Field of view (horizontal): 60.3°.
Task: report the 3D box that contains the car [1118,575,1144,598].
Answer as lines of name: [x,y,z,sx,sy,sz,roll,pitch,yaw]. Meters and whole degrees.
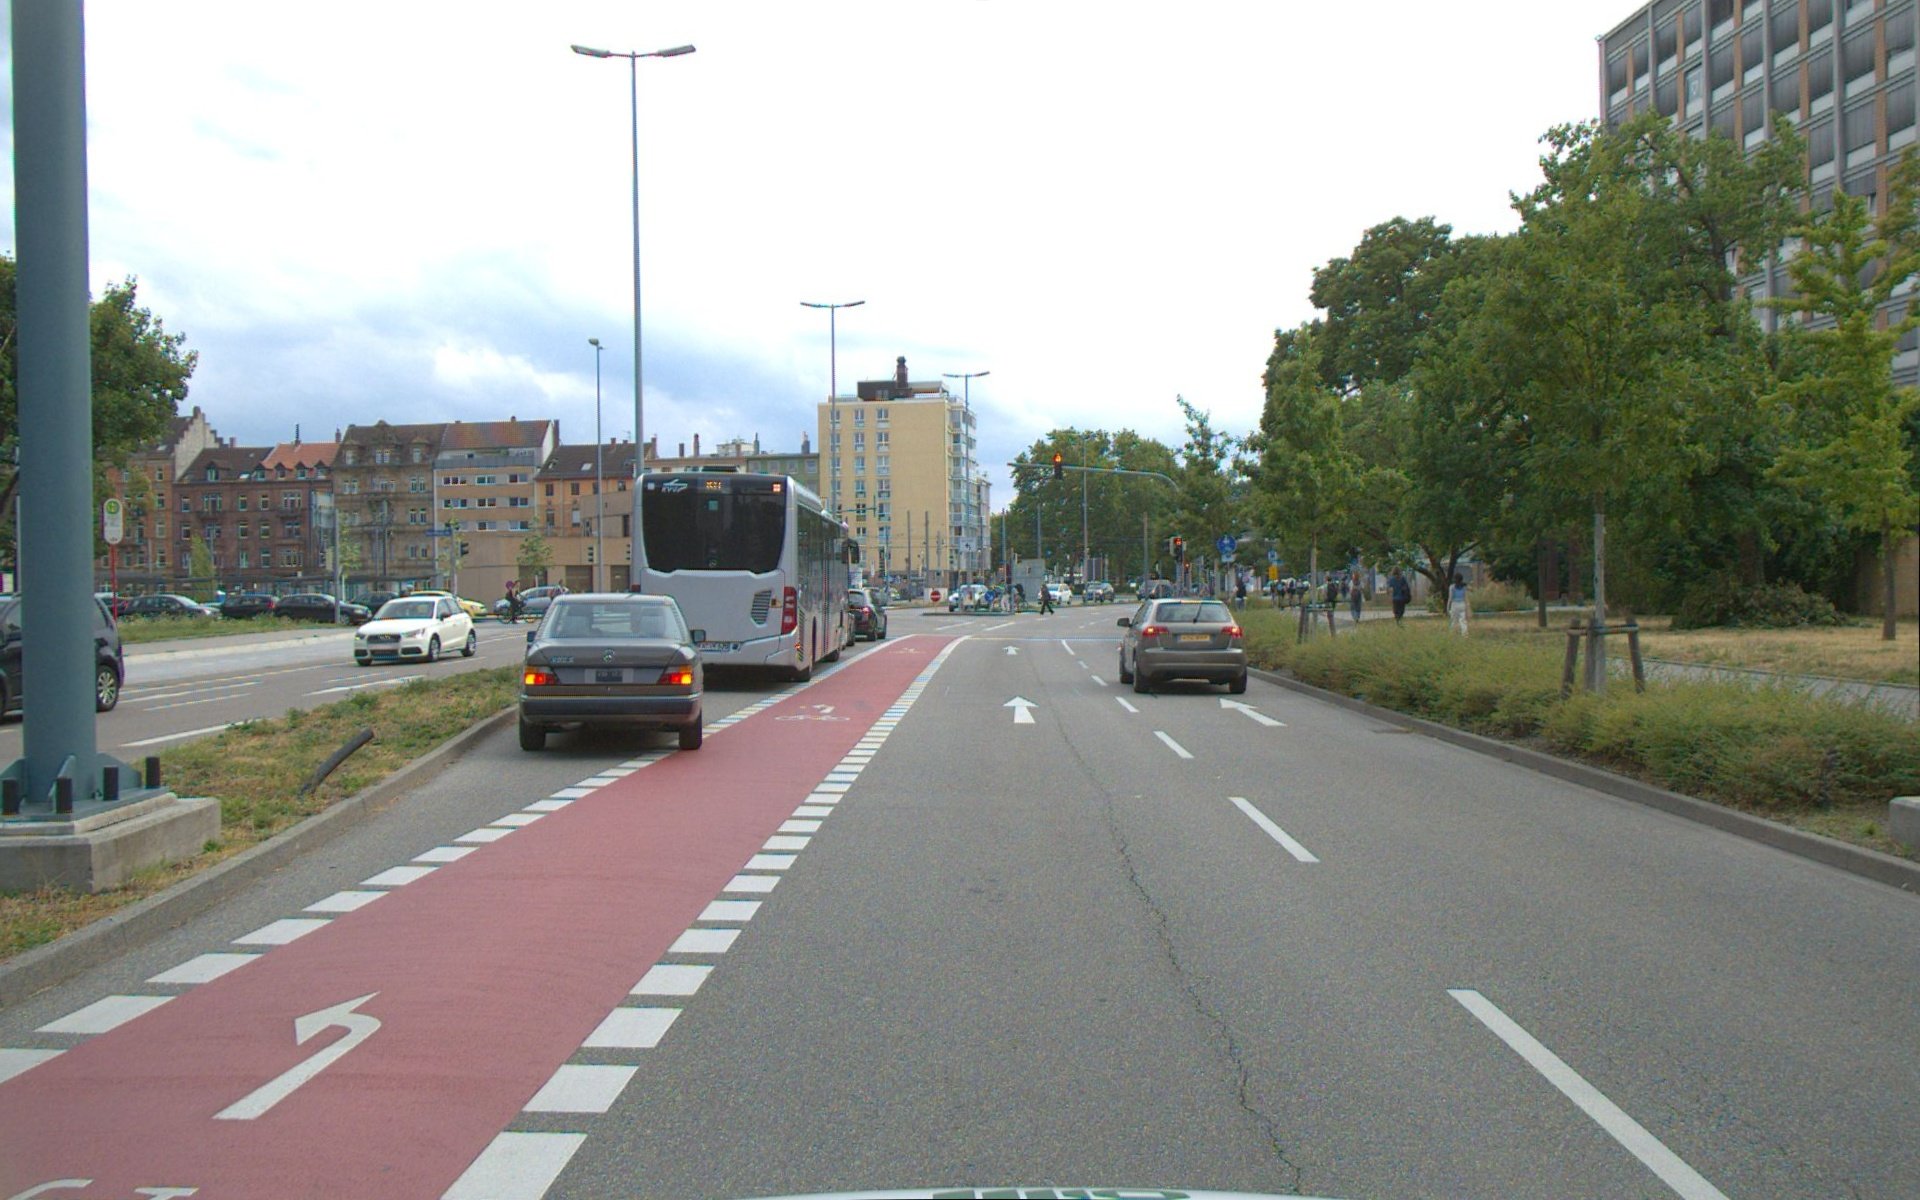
car: [16.221,-1.300,156.649,1.951,2.049,4.004,-1,1,13]

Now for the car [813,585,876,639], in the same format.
car: [-3.248,0.311,47.123,1.621,1.421,3.859,-1,1,-2]

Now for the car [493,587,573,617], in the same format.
car: [-20.486,0.100,79.334,3.617,1.419,1.576,0,0,-19]

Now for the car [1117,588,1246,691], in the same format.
car: [3.485,0.581,26.551,1.688,1.483,3.737,-1,1,2]

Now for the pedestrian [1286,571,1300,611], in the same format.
pedestrian: [17.001,-0.476,84.414,0.601,2.049,0.597,0,0,0]

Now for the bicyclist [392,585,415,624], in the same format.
bicyclist: [-24.000,0.204,71.308,0.771,1.672,0.572,-1,0,-4]

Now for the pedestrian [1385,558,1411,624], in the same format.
pedestrian: [11.699,-0.235,44.158,0.632,1.743,0.562,-1,0,16]

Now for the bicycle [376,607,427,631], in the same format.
bicycle: [-24.072,0.825,71.310,1.925,0.999,0.630,-1,0,-4]

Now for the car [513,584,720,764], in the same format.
car: [-3.343,0.614,16.364,1.729,1.515,4.160,-1,1,-11]

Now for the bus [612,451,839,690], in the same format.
bus: [-3.722,-0.482,28.233,2.774,3.449,8.181,-1,1,-1]

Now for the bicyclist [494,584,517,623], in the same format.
bicyclist: [-19.708,0.137,71.718,0.770,1.672,0.572,-1,0,0]

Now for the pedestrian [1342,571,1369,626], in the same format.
pedestrian: [12.619,-0.051,52.779,0.785,1.743,0.765,-1,0,14]

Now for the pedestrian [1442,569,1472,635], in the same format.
pedestrian: [11.488,0.044,38.234,0.643,1.496,0.562,-1,0,18]

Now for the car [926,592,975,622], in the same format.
car: [-0.549,0.416,102.338,1.951,1.732,4.003,-1,1,16]

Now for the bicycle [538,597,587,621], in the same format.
bicycle: [-17.169,0.378,71.470,1.924,0.999,0.631,-1,0,-2]

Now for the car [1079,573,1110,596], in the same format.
car: [11.655,-1.333,143.443,1.769,1.883,4.002,-1,1,18]

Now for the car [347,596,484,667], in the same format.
car: [-12.007,0.654,36.722,1.636,1.413,3.923,-2,1,1]

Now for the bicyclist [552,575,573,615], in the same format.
bicyclist: [-17.177,-0.222,71.476,0.770,1.672,0.613,-1,0,-2]

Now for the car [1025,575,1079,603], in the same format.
car: [7.481,-0.929,133.786,2.531,2.146,5.599,-1,1,24]

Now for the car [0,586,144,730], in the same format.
car: [-12.279,0.726,20.814,1.765,1.694,4.301,-3,1,1]

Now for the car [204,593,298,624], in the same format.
car: [-33.199,0.396,77.498,3.689,1.419,1.583,1,0,-4]

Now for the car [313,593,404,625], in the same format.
car: [-28.339,0.419,77.993,3.689,1.419,1.583,1,0,-4]

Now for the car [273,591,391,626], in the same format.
car: [-27.925,0.358,73.613,4.577,1.501,1.659,1,0,-4]

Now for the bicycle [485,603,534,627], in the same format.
bicycle: [-19.522,0.652,71.713,1.924,0.999,0.631,-1,0,-1]

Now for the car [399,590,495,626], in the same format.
car: [-22.932,0.361,74.021,3.780,1.544,1.659,0,0,-4]
